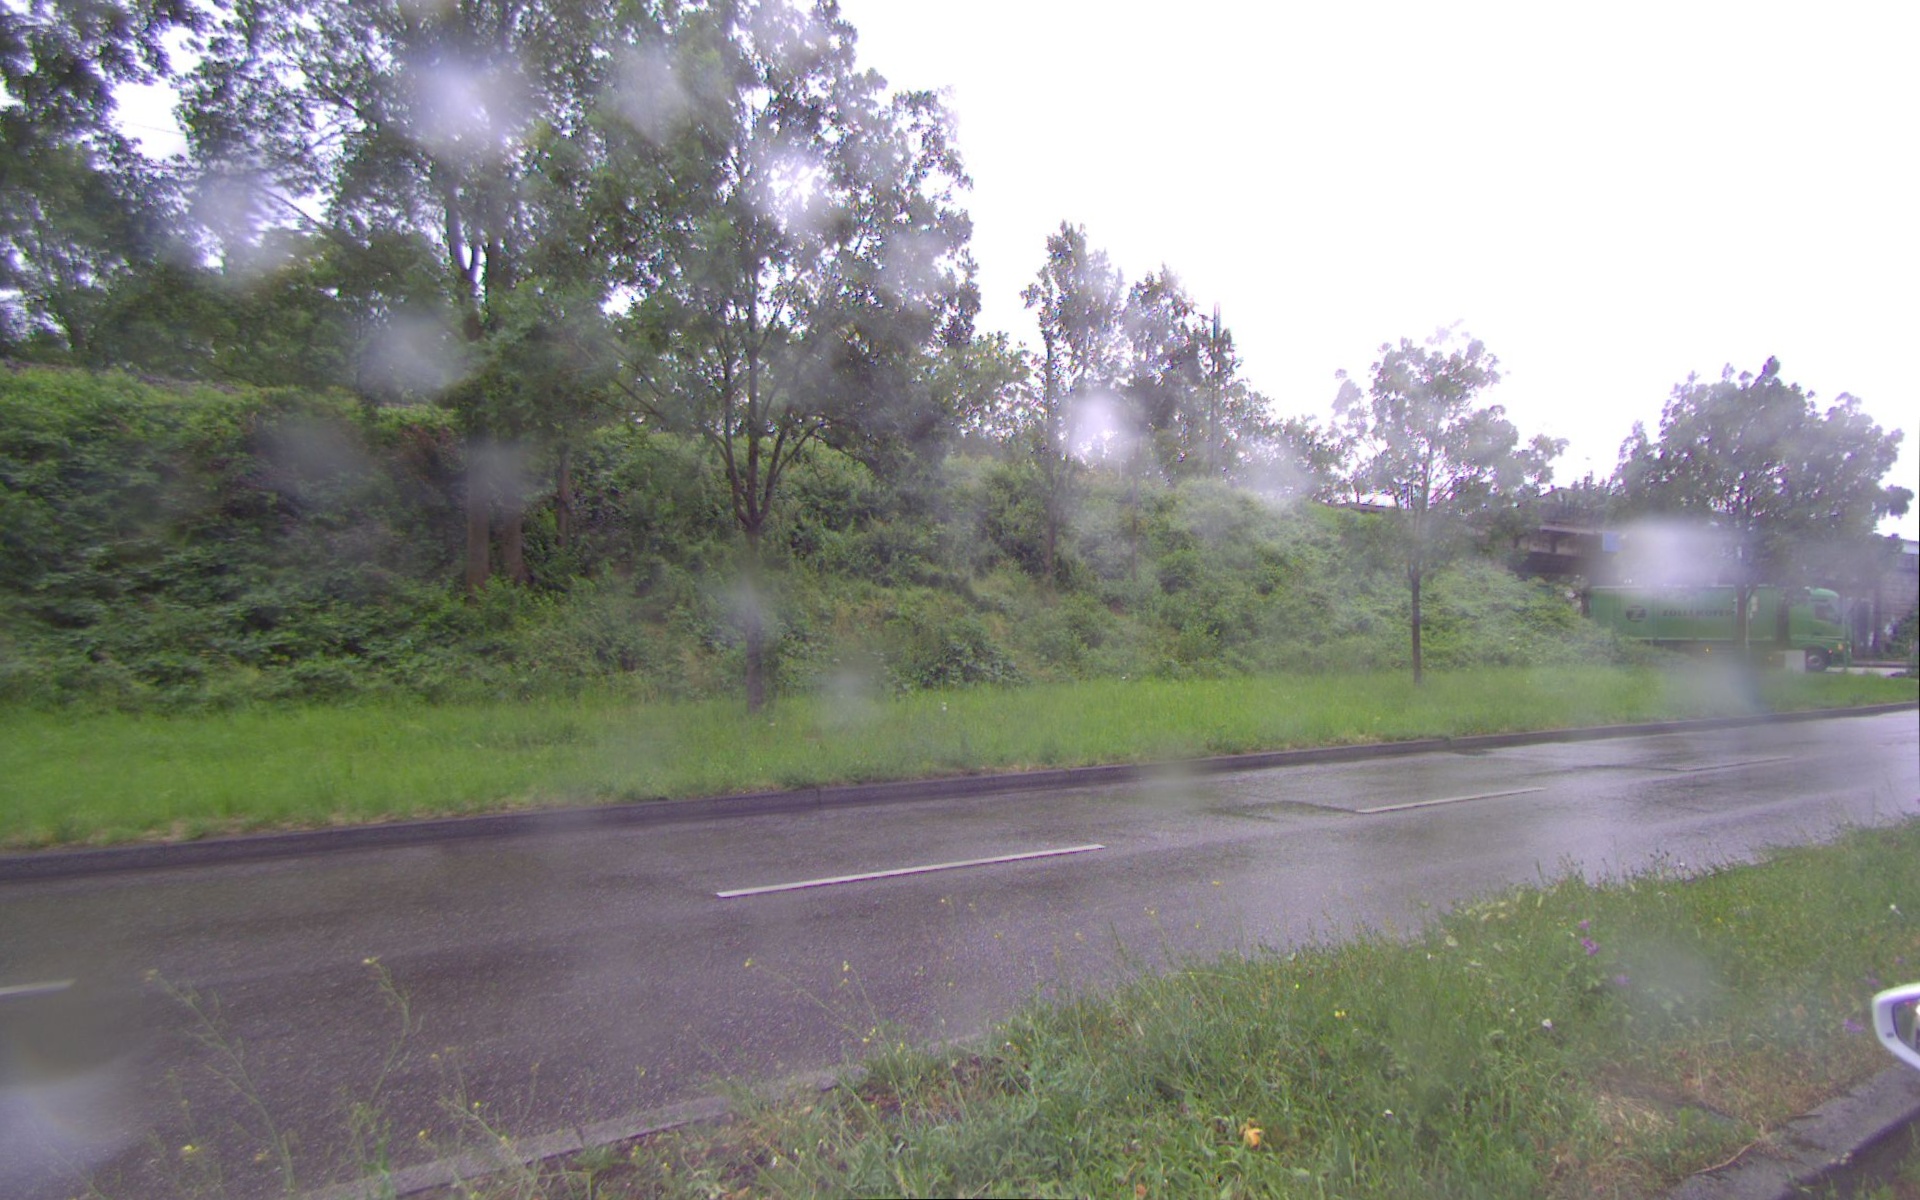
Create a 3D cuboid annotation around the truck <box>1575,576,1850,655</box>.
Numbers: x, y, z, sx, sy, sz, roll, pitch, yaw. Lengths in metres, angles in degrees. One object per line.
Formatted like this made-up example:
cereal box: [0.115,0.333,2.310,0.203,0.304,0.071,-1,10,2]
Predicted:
truck: [34.298,0.662,46.348,9.872,3.416,2.346,0,-1,25]
